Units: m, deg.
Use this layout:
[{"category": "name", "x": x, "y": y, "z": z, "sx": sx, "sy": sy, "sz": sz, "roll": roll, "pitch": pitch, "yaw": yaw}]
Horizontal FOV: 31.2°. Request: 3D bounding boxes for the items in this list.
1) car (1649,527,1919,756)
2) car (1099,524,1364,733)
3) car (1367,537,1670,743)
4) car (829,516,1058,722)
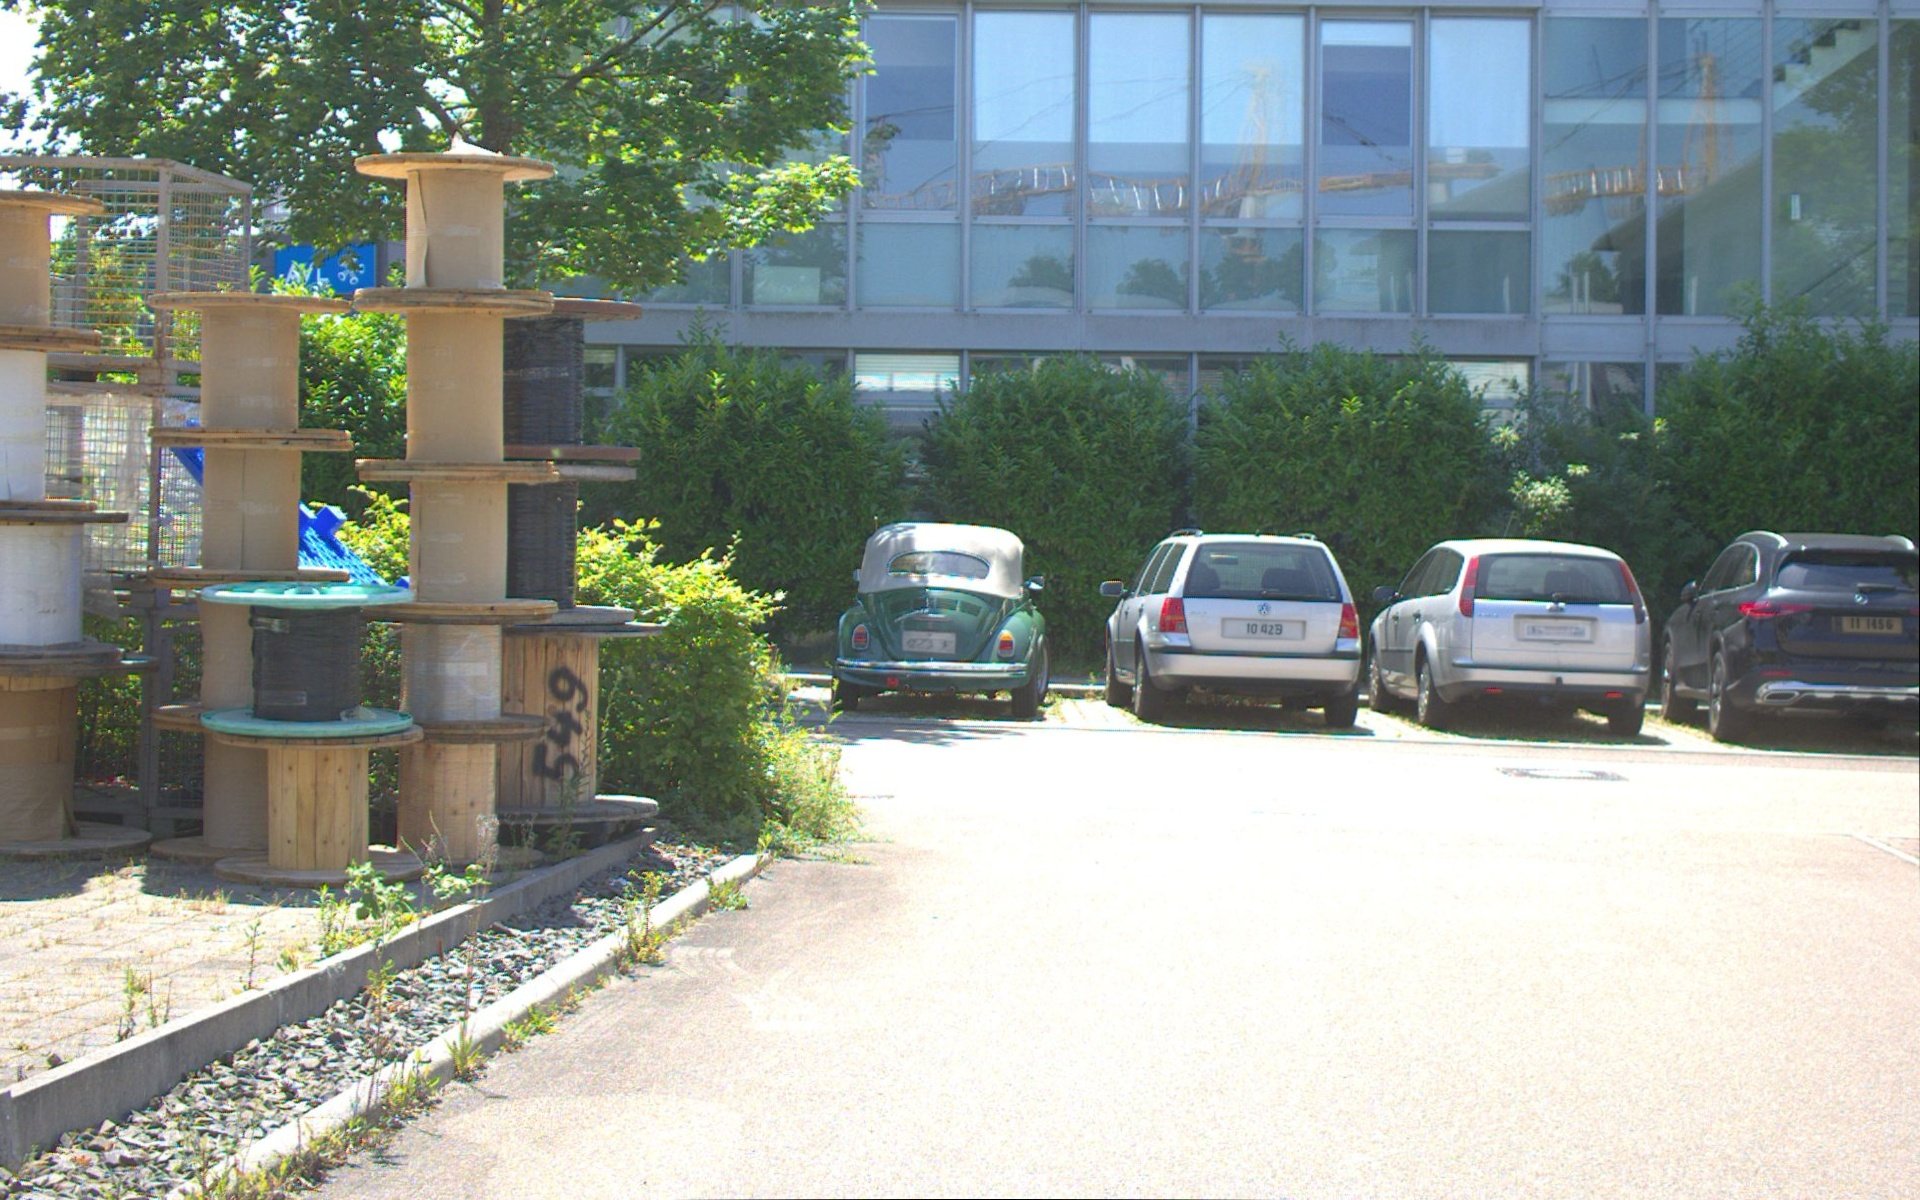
[{"category": "car", "x": 6.778, "y": 0.273, "z": 27.423, "sx": 1.927, "sy": 1.605, "sz": 3.986, "roll": 3, "pitch": 2, "yaw": 4}, {"category": "car", "x": 2.092, "y": 0.173, "z": 27.409, "sx": 1.731, "sy": 1.444, "sz": 3.654, "roll": 2, "pitch": 2, "yaw": -1}, {"category": "car", "x": 4.442, "y": 0.270, "z": 27.850, "sx": 1.765, "sy": 1.444, "sz": 3.654, "roll": 2, "pitch": 2, "yaw": -1}, {"category": "car", "x": -0.076, "y": 0.098, "z": 27.340, "sx": 1.542, "sy": 1.444, "sz": 3.654, "roll": 2, "pitch": 2, "yaw": 3}]
